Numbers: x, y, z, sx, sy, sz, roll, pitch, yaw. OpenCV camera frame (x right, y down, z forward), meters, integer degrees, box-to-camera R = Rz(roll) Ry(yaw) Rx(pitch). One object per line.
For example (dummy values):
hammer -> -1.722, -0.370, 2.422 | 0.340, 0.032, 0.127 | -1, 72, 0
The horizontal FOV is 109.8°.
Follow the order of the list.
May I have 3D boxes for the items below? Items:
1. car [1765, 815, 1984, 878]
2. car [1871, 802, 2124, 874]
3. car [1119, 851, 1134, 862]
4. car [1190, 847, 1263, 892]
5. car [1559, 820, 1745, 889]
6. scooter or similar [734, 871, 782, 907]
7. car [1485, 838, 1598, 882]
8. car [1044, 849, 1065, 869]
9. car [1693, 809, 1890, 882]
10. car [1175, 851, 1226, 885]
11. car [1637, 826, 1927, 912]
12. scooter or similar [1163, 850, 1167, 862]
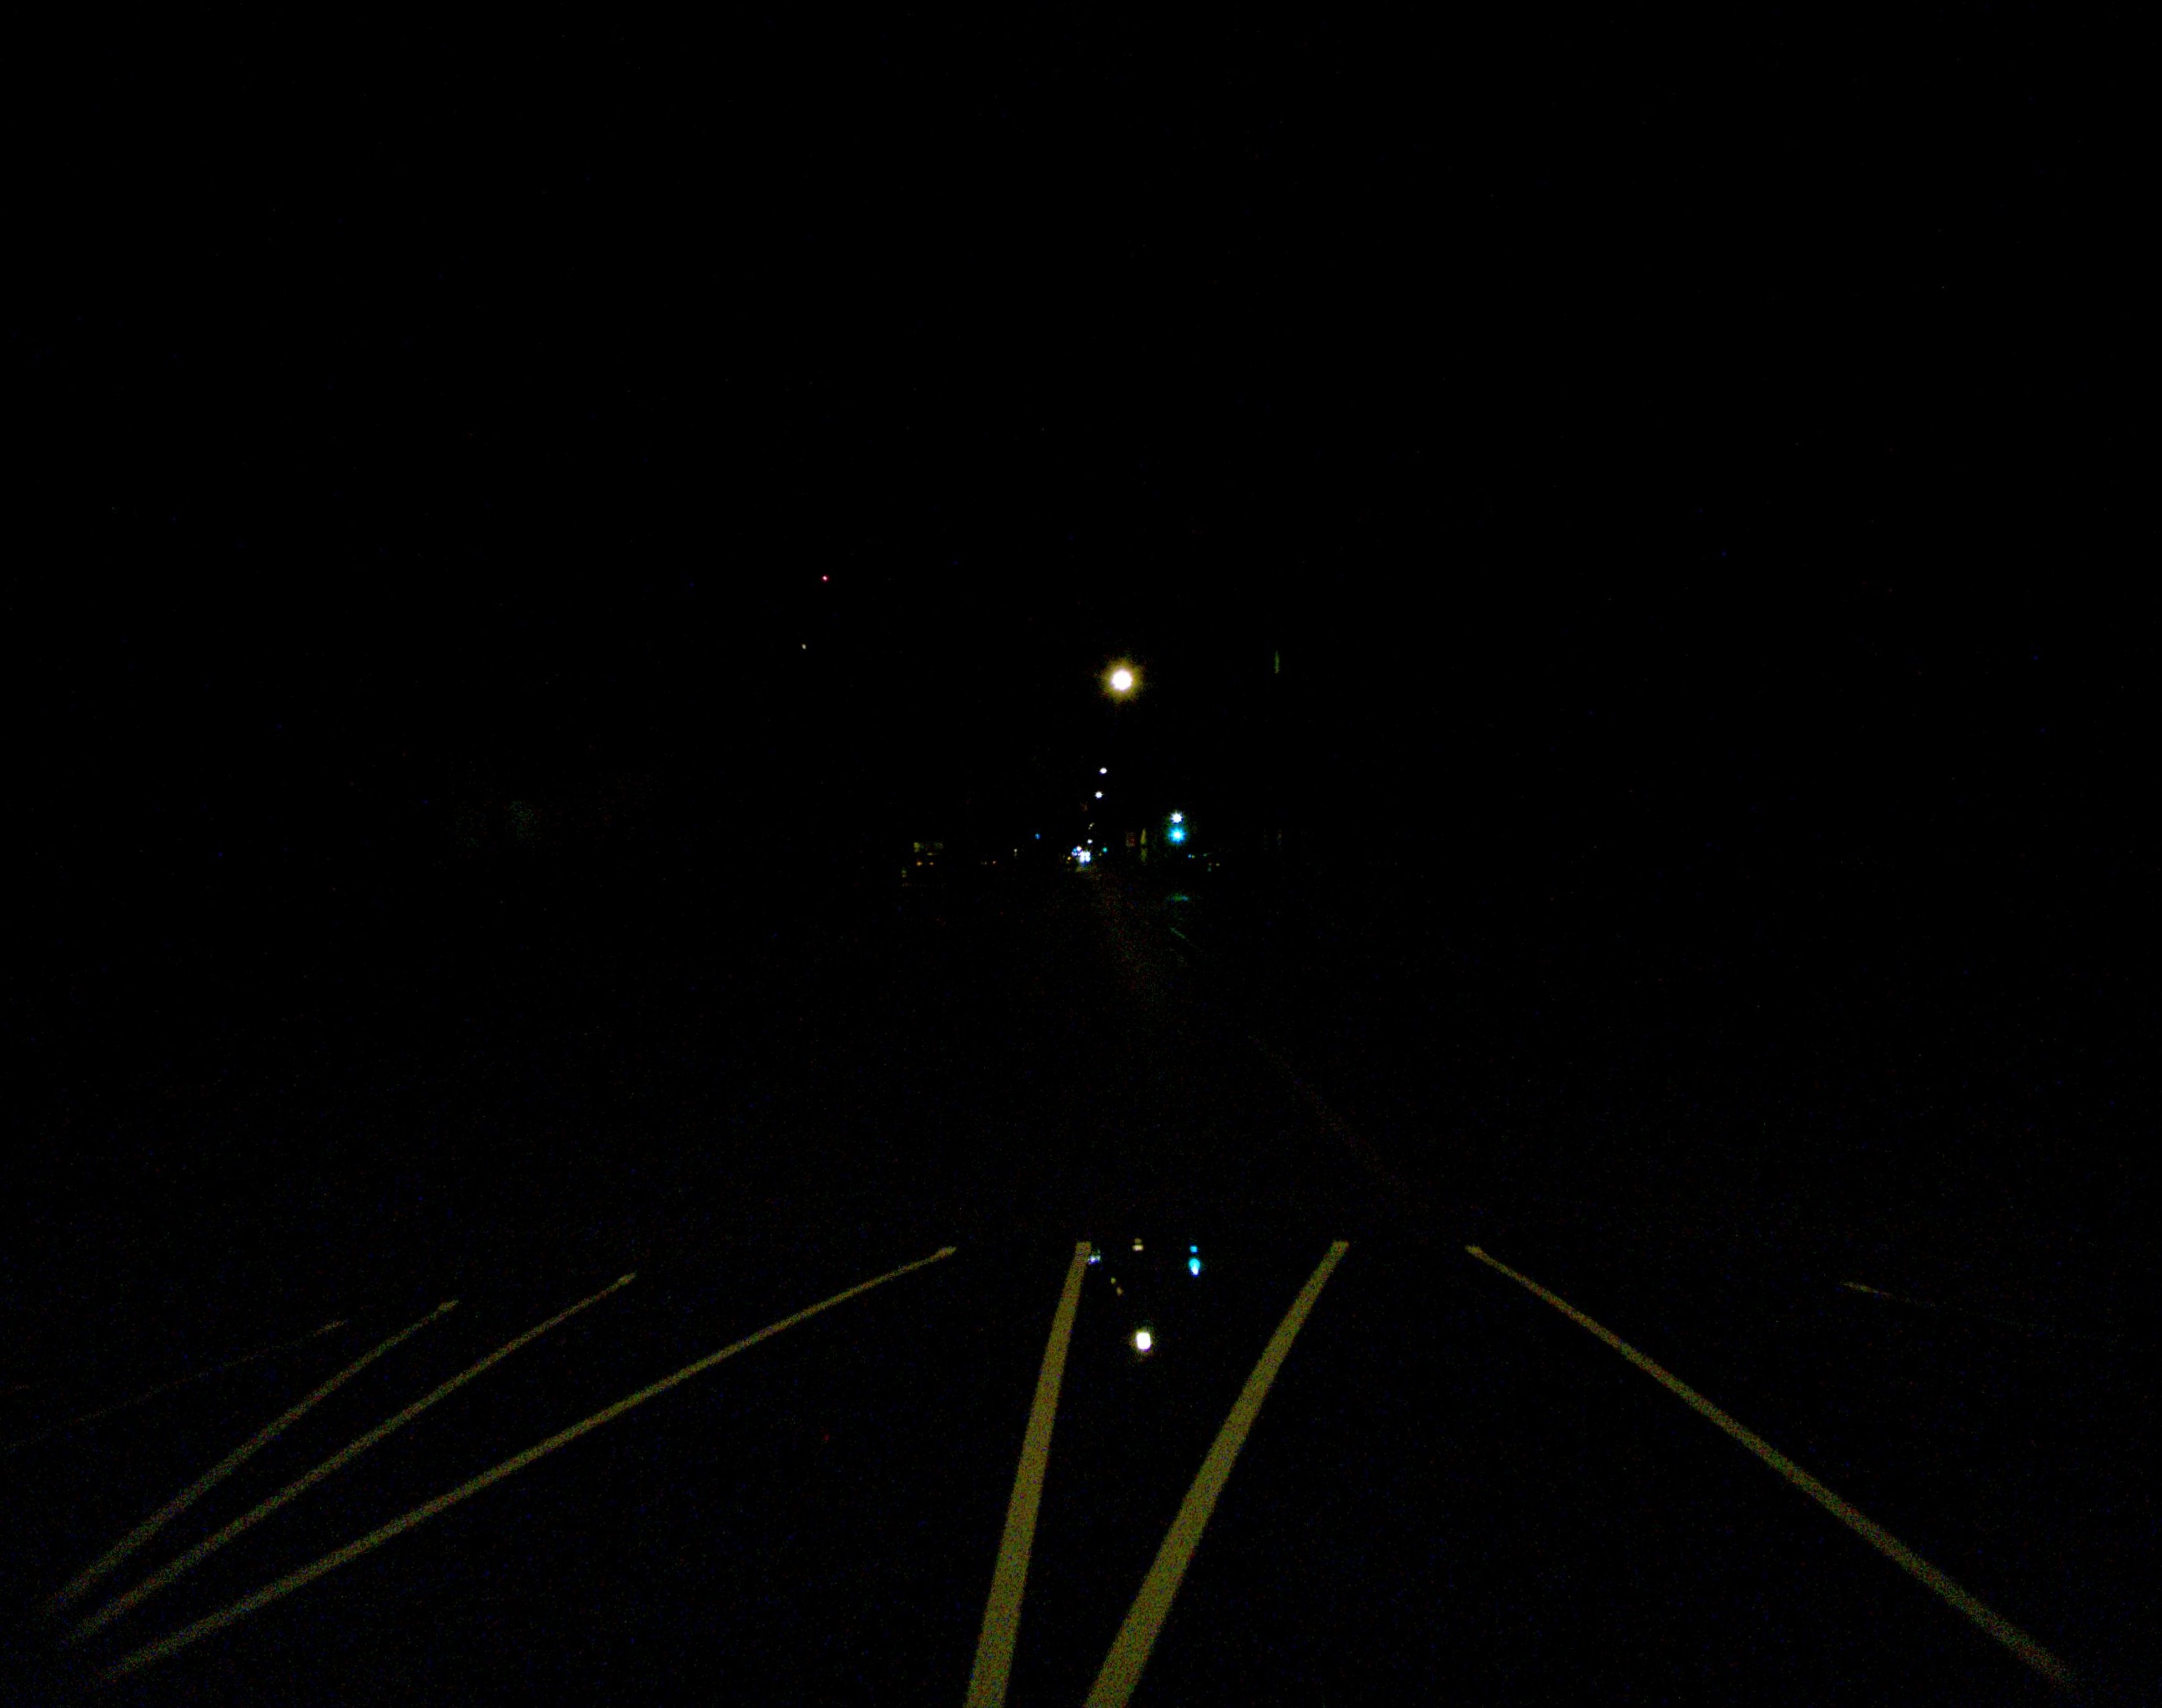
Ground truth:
car -> 20.285, -0.205, 19.732 | 1.675, 1.409, 4.329 | -2, 1, 9
car -> 22.691, -0.387, 19.115 | 1.848, 1.534, 4.154 | -2, 1, 11
car -> 6.509, 0.370, 108.548 | 1.731, 1.477, 4.291 | -2, 0, -1
car -> 5.903, 0.607, 31.428 | 1.853, 1.640, 4.670 | -2, 0, -3
car -> 15.056, -0.012, 20.375 | 1.761, 1.529, 4.186 | -4, 1, 0
scooter or similar -> -11.355, 1.196, 26.761 | 0.499, 1.139, 1.669 | 2, 2, 25
car -> 15.256, 0.154, 25.384 | 1.560, 1.309, 3.562 | -2, 1, -1
car -> -2.553, 0.492, 73.665 | 1.916, 1.816, 4.899 | -1, 0, -2
car -> 17.977, -0.237, 19.520 | 1.759, 1.597, 3.982 | -4, 1, 10
car -> 5.804, 0.649, 37.256 | 1.652, 1.506, 3.700 | -2, 1, -3
car -> 14.095, 0.286, 15.534 | 3.994, 1.417, 1.763 | -4, 1, 10
scooter or similar -> 9.157, 0.199, 82.916 | 0.332, 1.218, 1.335 | -2, 1, 2
